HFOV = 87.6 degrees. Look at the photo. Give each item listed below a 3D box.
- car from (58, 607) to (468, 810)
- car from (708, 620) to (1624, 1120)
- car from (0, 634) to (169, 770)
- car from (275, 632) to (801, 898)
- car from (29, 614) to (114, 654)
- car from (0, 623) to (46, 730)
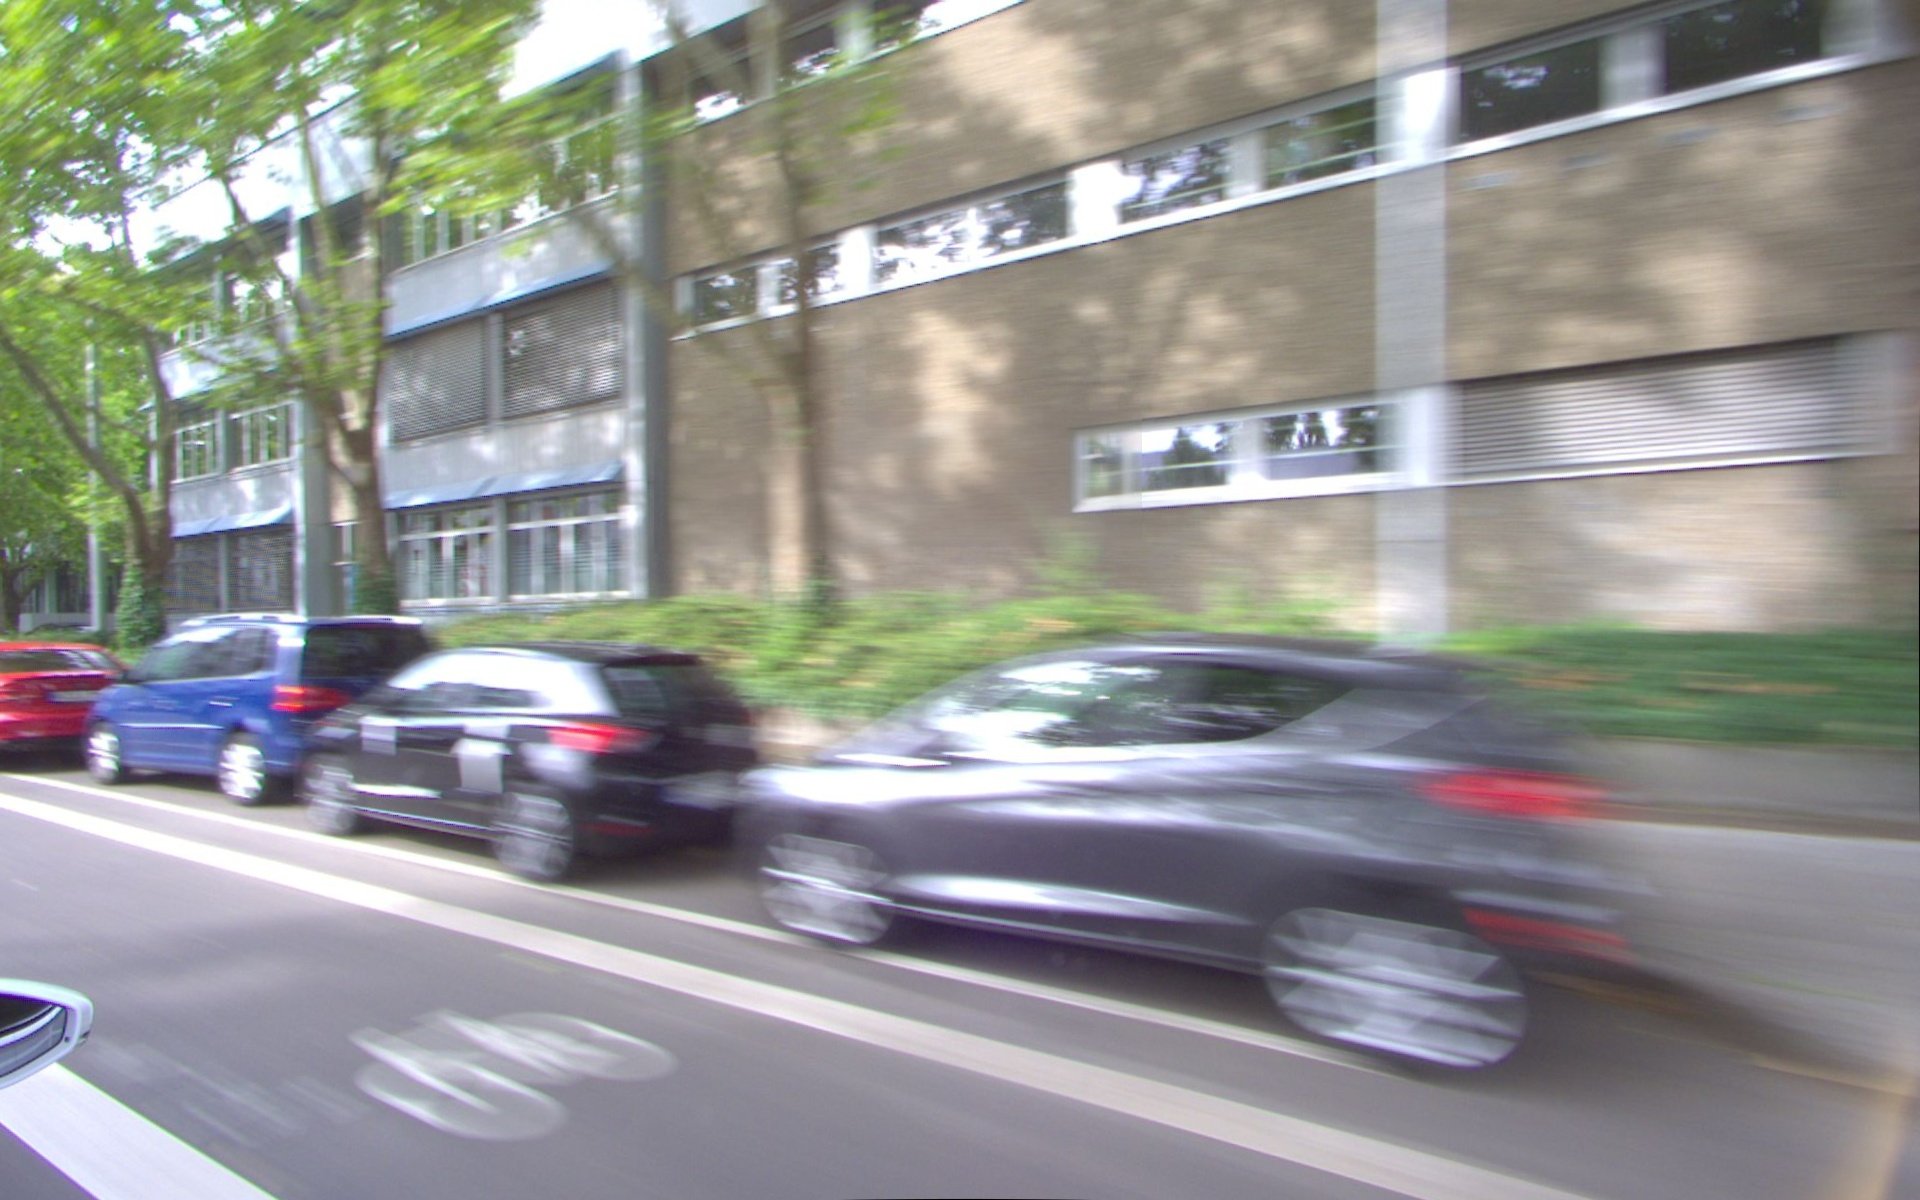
[{"bbox_3d":[-7.072,0.922,10.060,4.352,1.672,1.656,0,-1,29],"label":"car"},{"bbox_3d":[0.783,0.834,4.689,3.810,1.441,1.654,0,0,32],"label":"car"},{"bbox_3d":[-11.635,1.141,12.251,4.397,1.412,1.673,-2,-1,32],"label":"car"},{"bbox_3d":[-3.162,0.969,7.257,3.893,1.440,1.654,-1,-3,34],"label":"car"},{"bbox_3d":[-34.689,1.310,39.068,3.861,1.477,1.469,0,-1,33],"label":"car"},{"bbox_3d":[-15.958,1.138,15.282,4.801,1.536,1.725,-2,-2,32],"label":"car"}]
